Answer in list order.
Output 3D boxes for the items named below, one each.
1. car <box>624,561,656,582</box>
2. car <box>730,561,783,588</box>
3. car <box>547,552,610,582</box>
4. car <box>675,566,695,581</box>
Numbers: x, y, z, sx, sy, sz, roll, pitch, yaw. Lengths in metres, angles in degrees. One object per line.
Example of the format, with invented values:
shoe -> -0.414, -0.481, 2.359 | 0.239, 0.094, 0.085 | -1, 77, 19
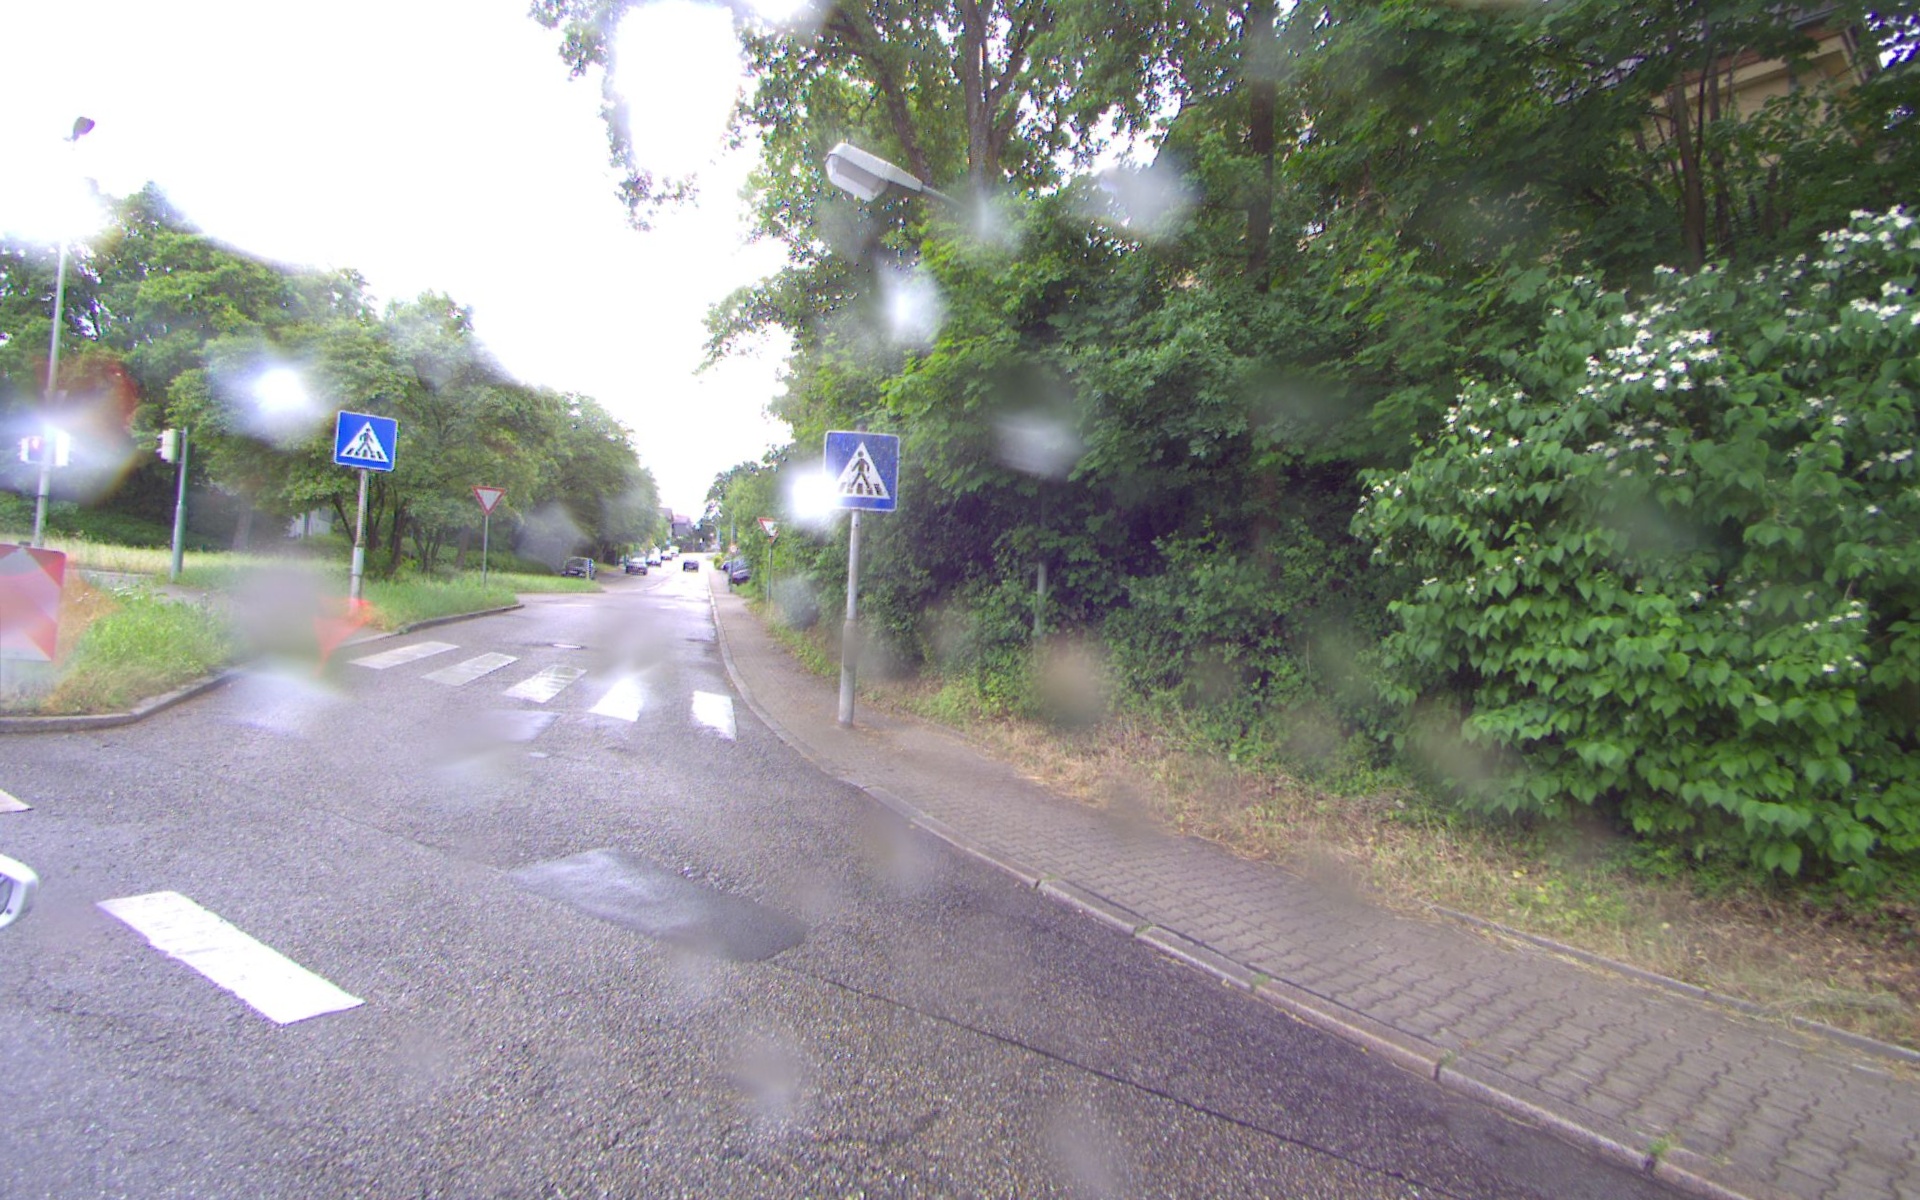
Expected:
car -> -29.831, -2.626, 93.777 | 1.672, 1.462, 4.002 | 7, -2, -2
car -> -16.130, -2.033, 79.617 | 3.937, 1.668, 1.951 | 7, 0, -15
car -> -25.504, -2.193, 67.353 | 1.793, 1.590, 4.001 | 7, 0, 15
car -> -31.826, -3.045, 116.347 | 1.918, 1.474, 4.200 | 8, -2, -19
